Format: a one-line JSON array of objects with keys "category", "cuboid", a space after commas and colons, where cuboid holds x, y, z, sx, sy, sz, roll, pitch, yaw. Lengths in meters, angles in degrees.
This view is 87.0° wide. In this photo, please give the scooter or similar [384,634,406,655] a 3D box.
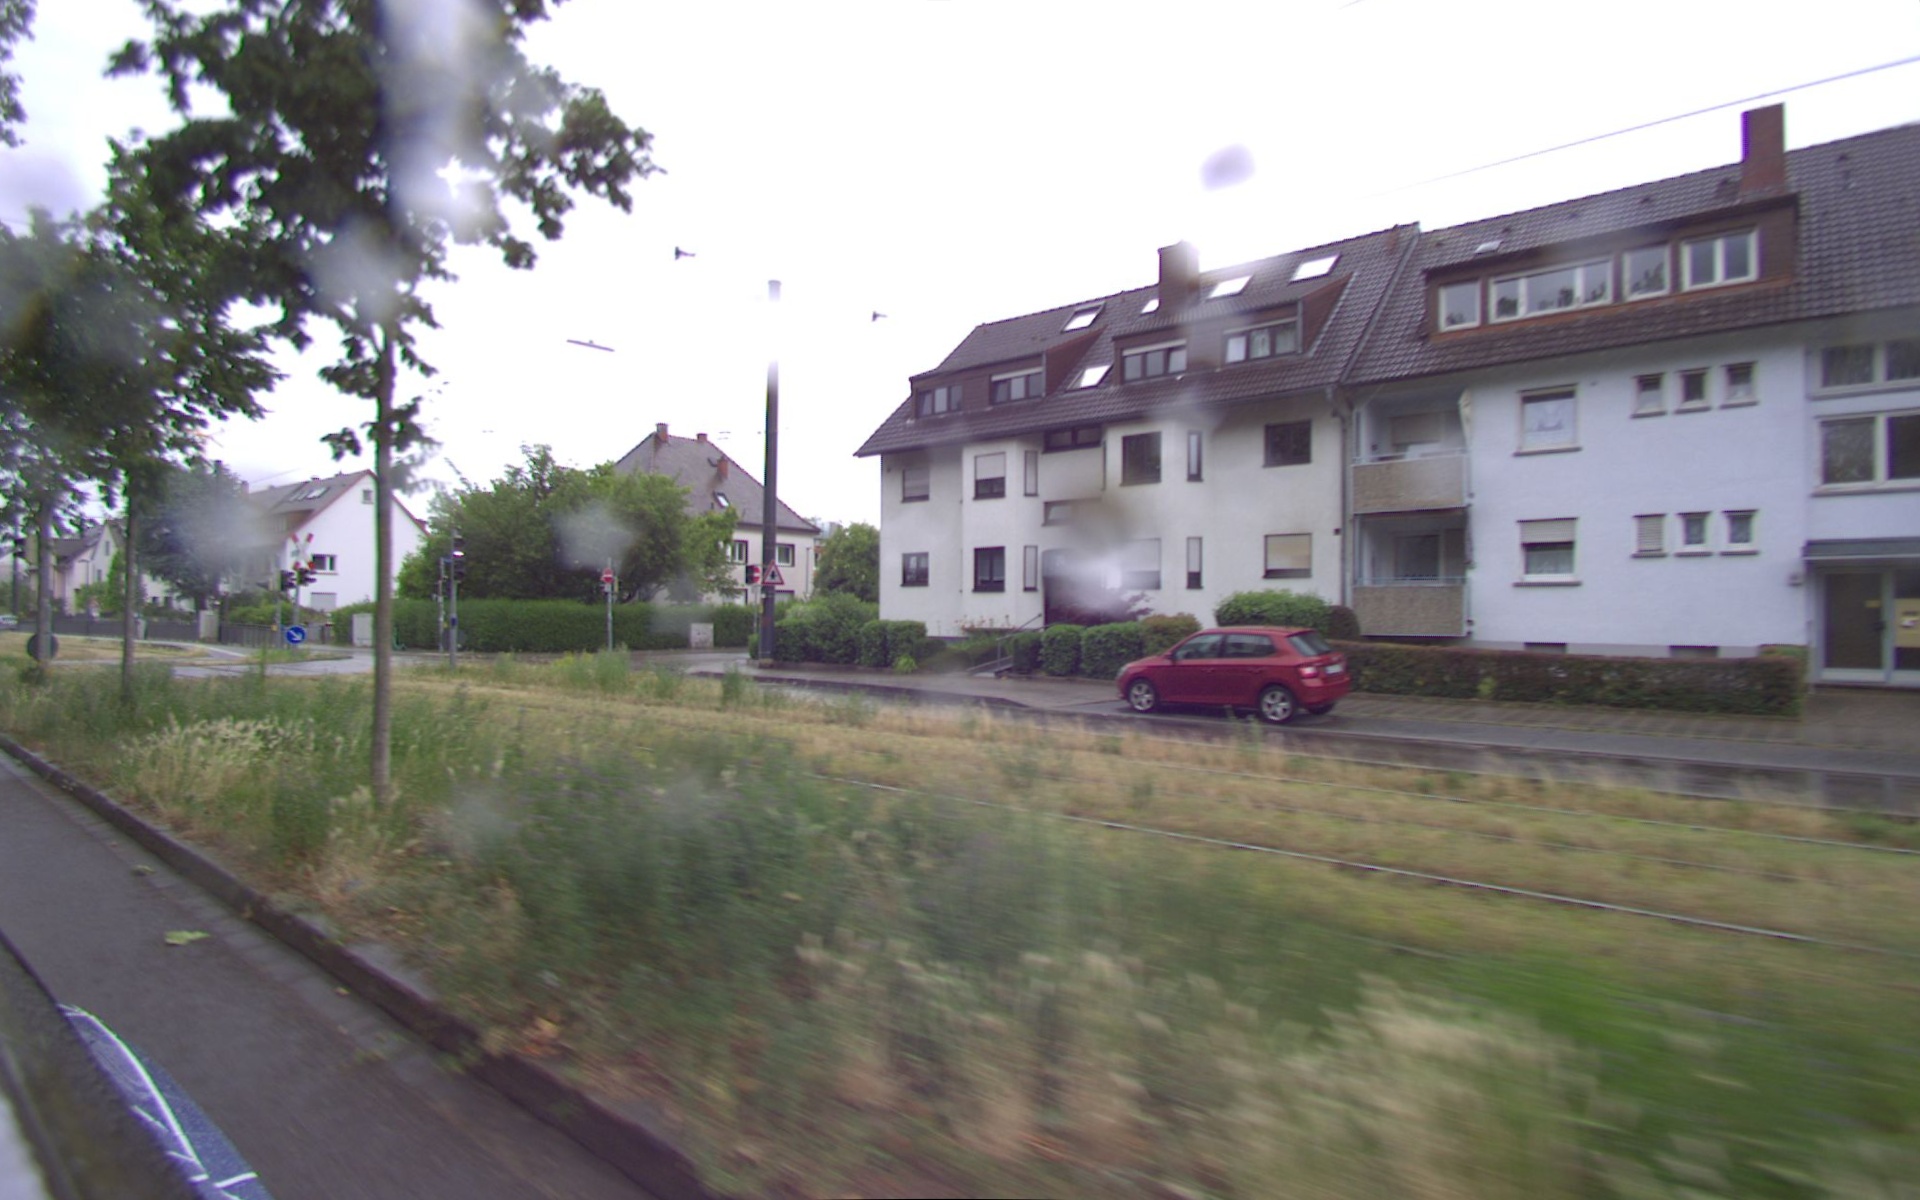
[{"category": "scooter or similar", "cuboid": [-24.826, 1.961, 44.469, 1.256, 0.917, 0.343, -1, -2, 36]}]

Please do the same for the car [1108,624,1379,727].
[{"category": "car", "cuboid": [4.644, 1.167, 16.930, 4.001, 1.468, 1.778, -2, 0, 44]}]

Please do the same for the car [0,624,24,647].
[{"category": "car", "cuboid": [-87.591, 3.257, 92.613, 3.991, 2.029, 1.976, -1, -2, 36]}]
